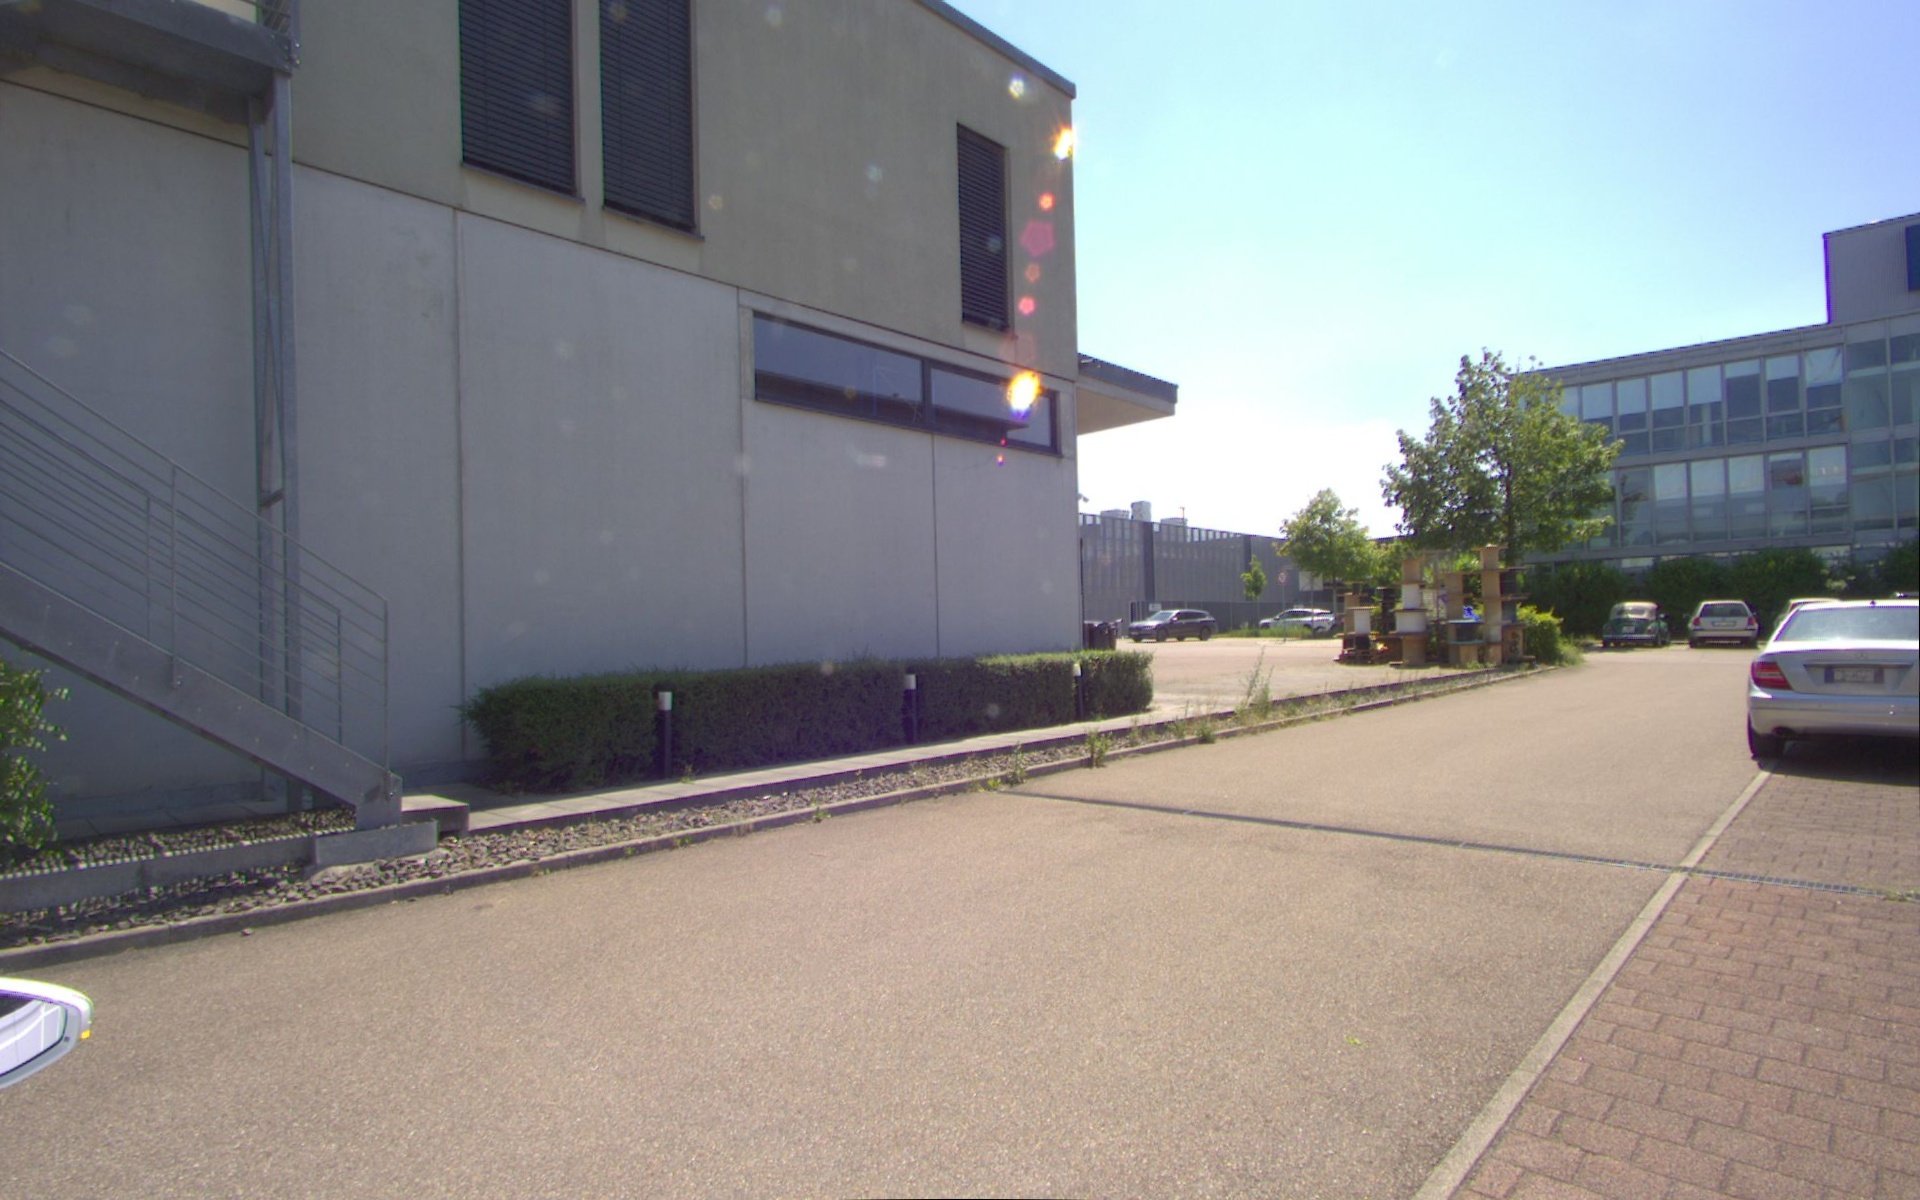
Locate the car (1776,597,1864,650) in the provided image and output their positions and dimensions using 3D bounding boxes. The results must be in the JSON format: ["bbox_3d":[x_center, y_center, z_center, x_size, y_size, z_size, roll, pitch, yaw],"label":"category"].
[{"bbox_3d":[26.489,0.743,30.947,1.727,1.538,3.974,-1,-2,36],"label":"car"}]

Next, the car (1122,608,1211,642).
[{"bbox_3d":[9.761,1.170,47.234,4.118,1.539,1.644,1,-2,-32],"label":"car"}]

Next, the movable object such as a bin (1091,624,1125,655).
[{"bbox_3d":[4.955,1.314,33.437,0.809,0.993,0.803,-1,-2,43],"label":"movable object such as a bin"}]

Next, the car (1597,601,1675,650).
[{"bbox_3d":[22.627,0.849,33.472,1.730,1.538,3.969,-2,-2,41],"label":"car"}]

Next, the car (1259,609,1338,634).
[{"bbox_3d":[20.305,1.321,60.229,1.726,1.433,4.422,2,-2,-33],"label":"car"}]

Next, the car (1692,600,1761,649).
[{"bbox_3d":[24.429,0.785,32.008,1.653,1.459,3.974,-1,-2,36],"label":"car"}]

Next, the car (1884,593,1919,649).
[{"bbox_3d":[28.010,0.609,29.059,1.731,1.538,3.965,-2,-2,43],"label":"car"}]

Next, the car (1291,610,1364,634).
[{"bbox_3d":[22.672,1.376,61.957,1.726,1.433,4.042,2,-2,-33],"label":"car"}]

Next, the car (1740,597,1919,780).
[{"bbox_3d":[8.702,0.741,9.450,1.712,1.455,3.683,-2,-2,44],"label":"car"}]
